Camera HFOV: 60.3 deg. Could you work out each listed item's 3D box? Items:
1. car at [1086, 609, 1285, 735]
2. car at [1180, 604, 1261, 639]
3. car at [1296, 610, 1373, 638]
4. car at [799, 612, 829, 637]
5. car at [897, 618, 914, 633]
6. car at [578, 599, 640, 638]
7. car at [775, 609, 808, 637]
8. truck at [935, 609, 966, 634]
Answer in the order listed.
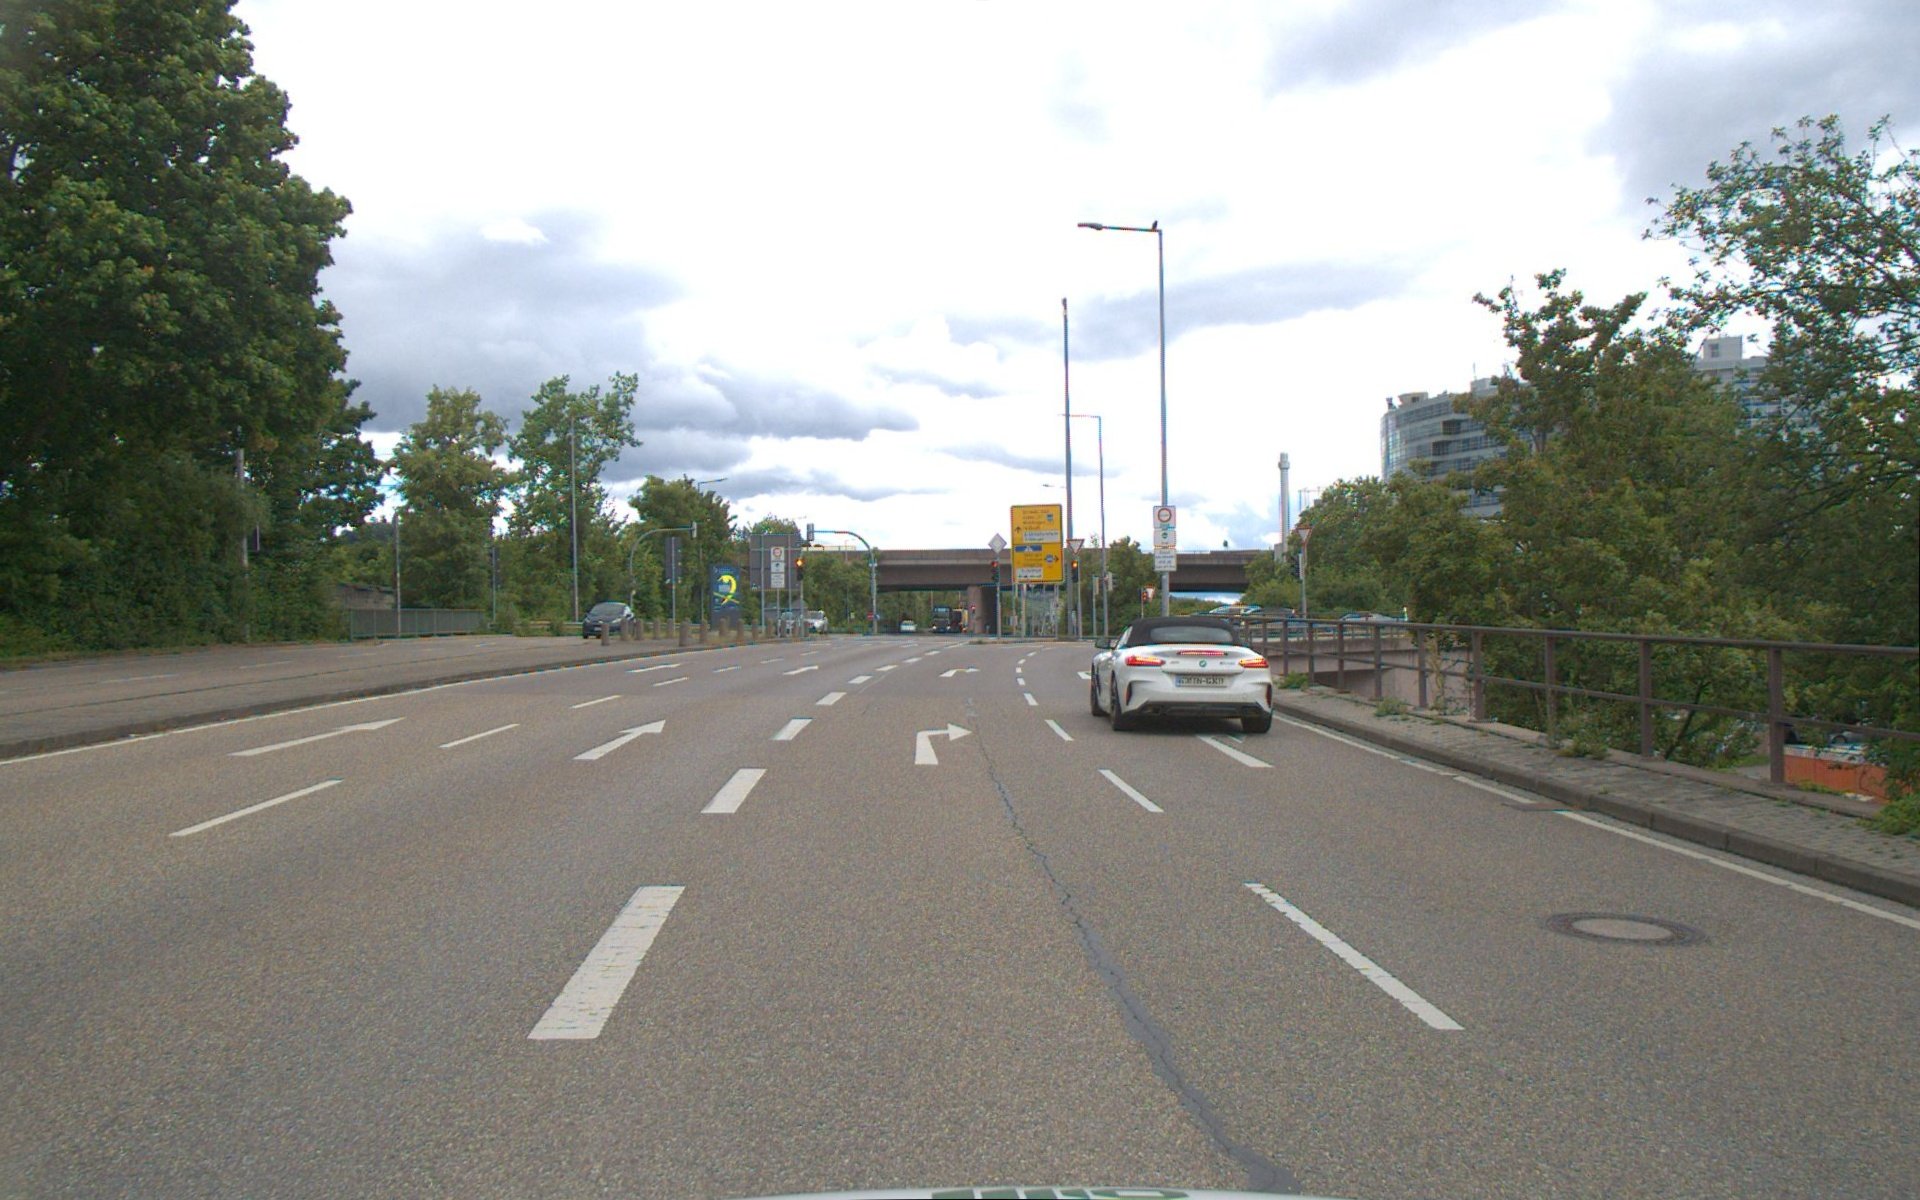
[{"bbox_3d":[2.640,0.804,20.216,1.837,1.332,3.872,1,0,-1],"label":"car"},{"bbox_3d":[14.662,1.229,93.231,4.280,1.789,2.000,-1,-2,3],"label":"car"},{"bbox_3d":[22.761,1.476,100.754,4.280,1.598,2.000,-1,-2,3],"label":"car"},{"bbox_3d":[-10.056,1.705,113.895,1.735,1.661,3.824,1,-1,0],"label":"car"},{"bbox_3d":[-6.182,2.880,187.649,1.705,1.564,3.672,0,0,1],"label":"car"},{"bbox_3d":[-14.191,0.739,67.006,1.724,1.510,3.484,2,0,0],"label":"car"},{"bbox_3d":[-10.770,1.466,105.963,1.735,1.674,3.824,1,-1,0],"label":"car"},{"bbox_3d":[-1.231,2.958,223.670,2.861,3.201,10.118,1,-1,7],"label":"truck"}]
